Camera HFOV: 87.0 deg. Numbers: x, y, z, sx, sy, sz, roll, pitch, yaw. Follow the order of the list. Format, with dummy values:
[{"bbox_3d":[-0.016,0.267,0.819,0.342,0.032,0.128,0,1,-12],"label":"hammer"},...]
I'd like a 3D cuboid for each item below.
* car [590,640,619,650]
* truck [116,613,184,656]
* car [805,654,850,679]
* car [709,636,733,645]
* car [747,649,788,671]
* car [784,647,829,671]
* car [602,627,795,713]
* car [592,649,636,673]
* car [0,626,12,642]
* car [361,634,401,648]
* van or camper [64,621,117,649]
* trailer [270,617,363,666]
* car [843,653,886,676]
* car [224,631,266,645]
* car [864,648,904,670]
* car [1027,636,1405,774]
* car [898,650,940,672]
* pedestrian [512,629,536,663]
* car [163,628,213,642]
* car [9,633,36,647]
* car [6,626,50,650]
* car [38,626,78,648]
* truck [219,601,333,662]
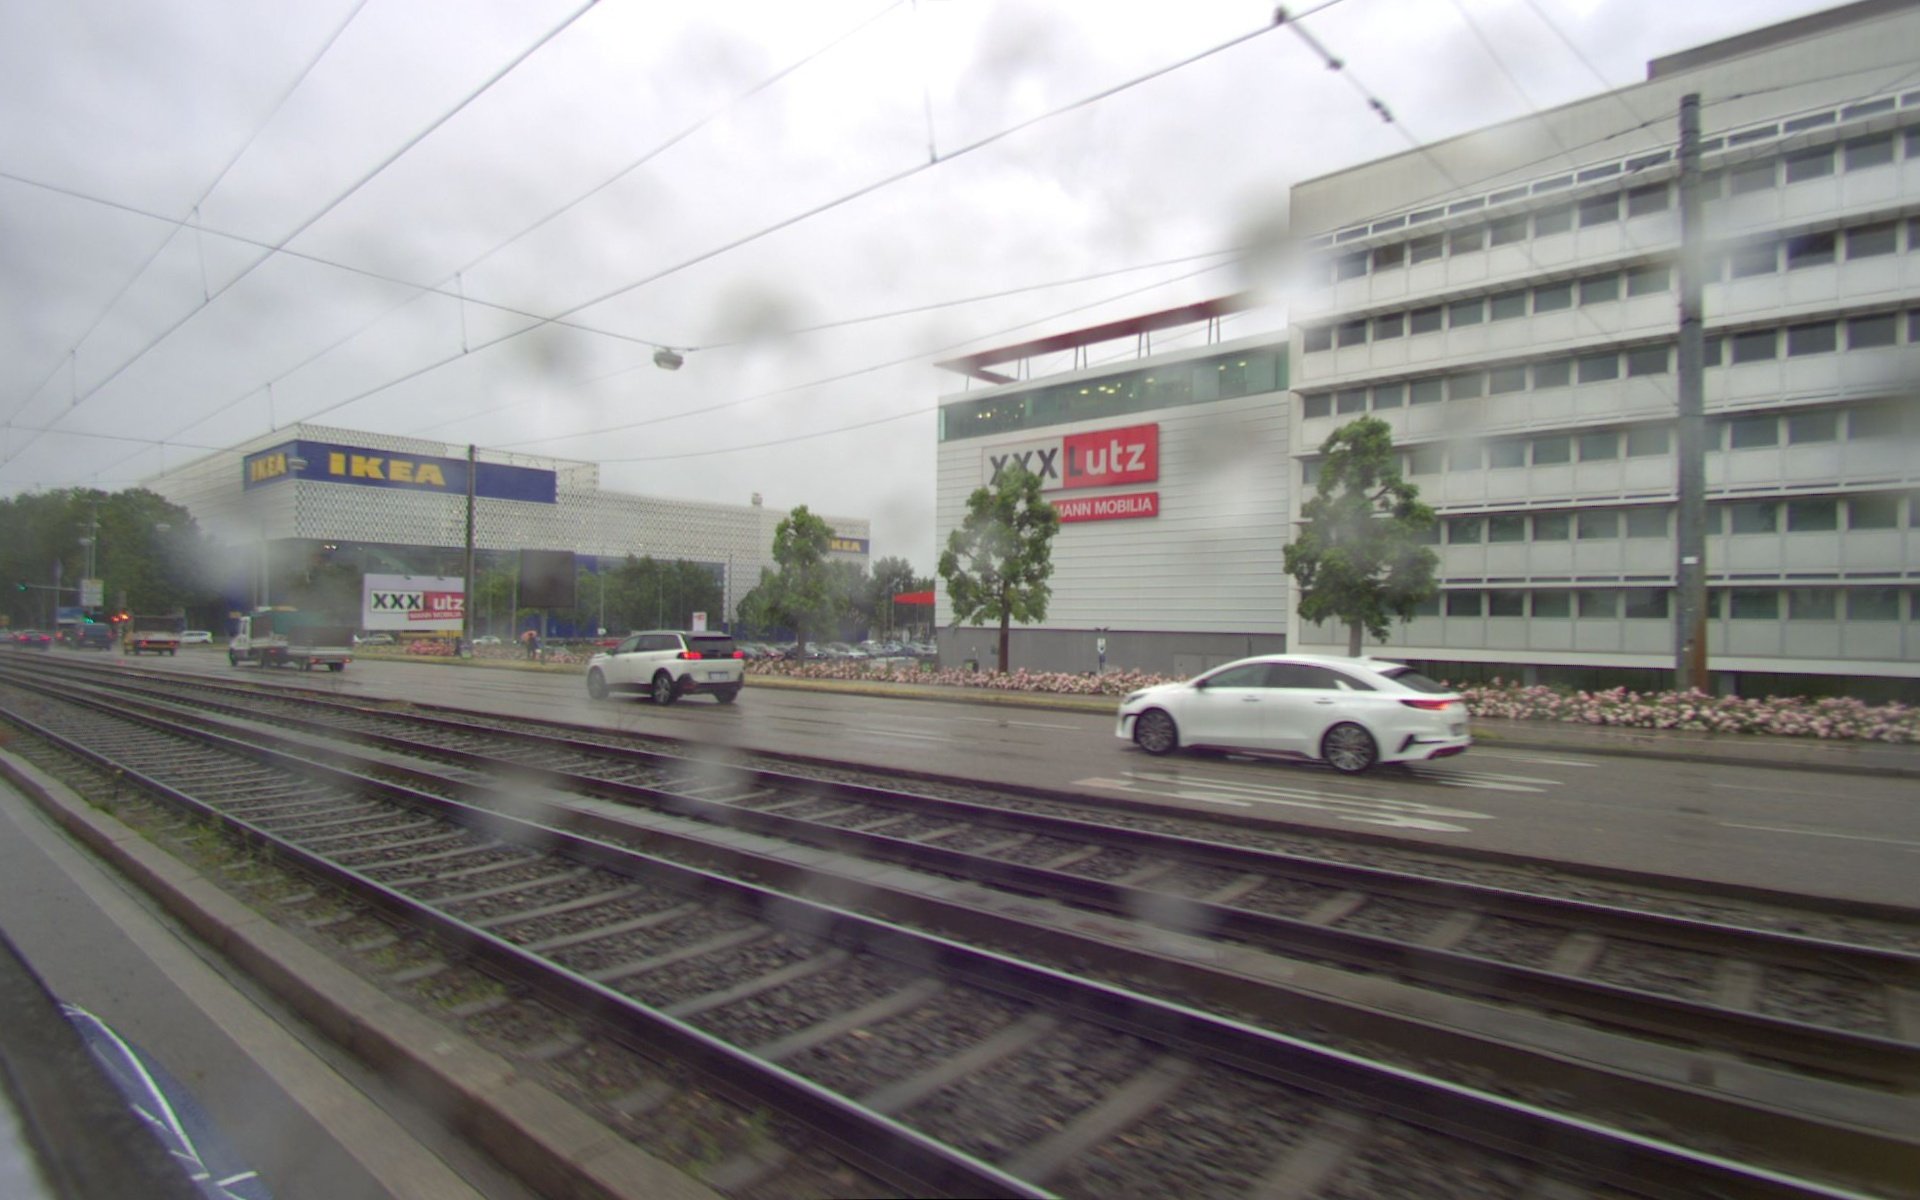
[{"bbox_3d":[-55.746,6.997,158.705,1.602,1.417,3.930,-1,0,43],"label":"car"},{"bbox_3d":[-50.099,2.106,62.538,6.064,2.480,2.203,-1,-4,42],"label":"truck"},{"bbox_3d":[-12.397,6.223,94.936,3.995,2.029,1.974,-1,0,39],"label":"car"},{"bbox_3d":[-41.005,6.890,173.940,1.602,1.417,3.771,-1,0,43],"label":"car"},{"bbox_3d":[-19.619,6.110,103.086,3.995,2.029,1.974,-1,0,39],"label":"car"},{"bbox_3d":[-14.130,5.395,93.077,3.995,2.029,1.974,-1,0,39],"label":"car"},{"bbox_3d":[-5.844,1.453,22.330,4.685,1.695,1.753,-1,-3,40],"label":"car"},{"bbox_3d":[-32.488,5.716,94.989,3.995,2.029,1.975,-1,0,38],"label":"car"},{"bbox_3d":[-91.576,3.227,96.071,4.687,1.505,1.839,-1,-3,41],"label":"car"},{"bbox_3d":[-74.012,5.209,129.446,1.999,1.615,4.053,-1,0,41],"label":"car"},{"bbox_3d":[-65.102,2.616,75.717,5.684,2.029,2.280,-1,-3,42],"label":"van or camper"},{"bbox_3d":[-25.688,1.602,40.353,3.834,1.806,2.097,-1,0,41],"label":"trailer"},{"bbox_3d":[-9.398,6.289,99.601,3.995,2.029,1.974,-1,0,39],"label":"car"},{"bbox_3d":[-87.276,4.631,123.552,1.760,1.630,3.962,-1,0,42],"label":"car"},{"bbox_3d":[-8.025,6.203,106.667,3.994,2.029,1.975,-1,0,38],"label":"car"},{"bbox_3d":[3.403,1.316,14.134,4.766,1.595,1.972,-2,-3,43],"label":"car"},{"bbox_3d":[-4.210,6.246,103.789,3.994,2.029,1.975,-1,0,38],"label":"car"},{"bbox_3d":[-24.141,2.548,56.057,1.050,1.776,0.814,-1,1,43],"label":"pedestrian"},{"bbox_3d":[-88.912,4.028,116.586,1.819,1.552,4.401,-3,-2,42],"label":"car"},{"bbox_3d":[-118.178,5.014,127.528,4.838,1.618,1.888,-2,0,40],"label":"car"},{"bbox_3d":[-66.511,2.716,72.215,4.533,1.635,1.800,-1,-2,41],"label":"car"},{"bbox_3d":[-74.075,3.043,83.097,4.907,1.630,1.838,-1,-4,43],"label":"car"},{"bbox_3d":[-29.961,1.375,44.207,7.217,2.476,2.409,-1,-3,42],"label":"truck"}]
